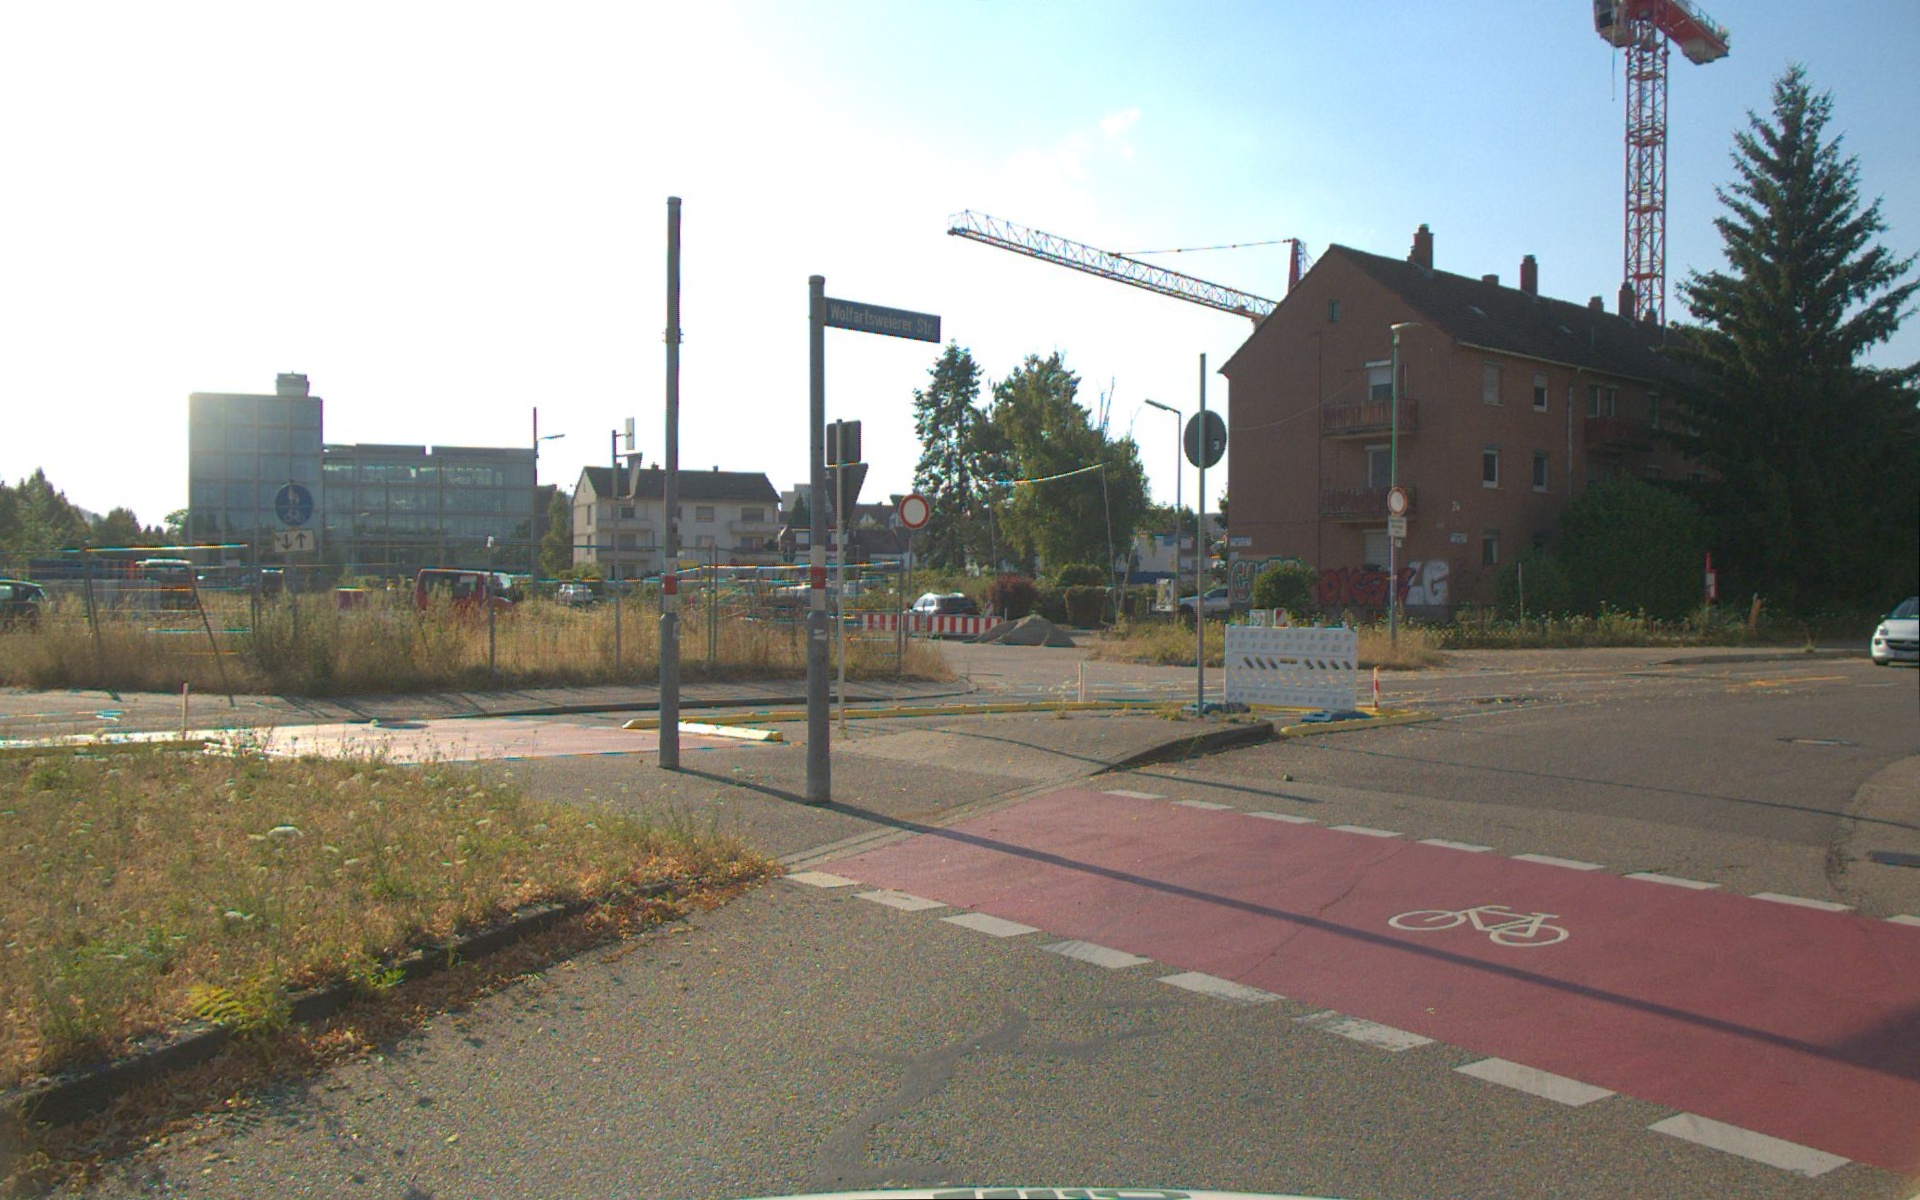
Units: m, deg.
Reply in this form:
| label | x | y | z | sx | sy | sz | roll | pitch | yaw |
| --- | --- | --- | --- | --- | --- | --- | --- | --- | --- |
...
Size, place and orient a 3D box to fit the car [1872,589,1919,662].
| label | x | y | z | sx | sy | sz | roll | pitch | yaw |
| --- | --- | --- | --- | --- | --- | --- | --- | --- | --- |
| car | 20.579 | 0.521 | 35.036 | 1.730 | 1.446 | 3.610 | 2 | 2 | 36 |

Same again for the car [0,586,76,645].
| label | x | y | z | sx | sy | sz | roll | pitch | yaw |
| --- | --- | --- | --- | --- | --- | --- | --- | --- | --- |
| car | -23.598 | 0.368 | 39.607 | 4.191 | 1.387 | 1.978 | 0 | 0 | -33 |

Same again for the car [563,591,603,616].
| label | x | y | z | sx | sy | sz | roll | pitch | yaw |
| --- | --- | --- | --- | --- | --- | --- | --- | --- | --- |
| car | -28.571 | 0.278 | 125.378 | 2.118 | 1.870 | 4.328 | 0 | 0 | -24 |

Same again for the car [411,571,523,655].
| label | x | y | z | sx | sy | sz | roll | pitch | yaw |
| --- | --- | --- | --- | --- | --- | --- | --- | --- | --- |
| car | -12.642 | 0.301 | 42.752 | 1.956 | 2.049 | 5.304 | 0 | 0 | -8 |

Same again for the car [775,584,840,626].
| label | x | y | z | sx | sy | sz | roll | pitch | yaw |
| --- | --- | --- | --- | --- | --- | --- | --- | --- | --- |
| car | -7.346 | 0.228 | 79.432 | 1.840 | 1.982 | 3.966 | 0 | 0 | -26 |

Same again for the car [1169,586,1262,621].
| label | x | y | z | sx | sy | sz | roll | pitch | yaw |
| --- | --- | --- | --- | --- | --- | --- | --- | --- | --- |
| car | 11.492 | 0.141 | 74.287 | 3.902 | 1.557 | 2.001 | 0 | 0 | 16 |

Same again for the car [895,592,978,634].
| label | x | y | z | sx | sy | sz | roll | pitch | yaw |
| --- | --- | --- | --- | --- | --- | --- | --- | --- | --- |
| car | -0.950 | 0.465 | 64.642 | 1.966 | 1.579 | 3.973 | 0 | 0 | -22 |
